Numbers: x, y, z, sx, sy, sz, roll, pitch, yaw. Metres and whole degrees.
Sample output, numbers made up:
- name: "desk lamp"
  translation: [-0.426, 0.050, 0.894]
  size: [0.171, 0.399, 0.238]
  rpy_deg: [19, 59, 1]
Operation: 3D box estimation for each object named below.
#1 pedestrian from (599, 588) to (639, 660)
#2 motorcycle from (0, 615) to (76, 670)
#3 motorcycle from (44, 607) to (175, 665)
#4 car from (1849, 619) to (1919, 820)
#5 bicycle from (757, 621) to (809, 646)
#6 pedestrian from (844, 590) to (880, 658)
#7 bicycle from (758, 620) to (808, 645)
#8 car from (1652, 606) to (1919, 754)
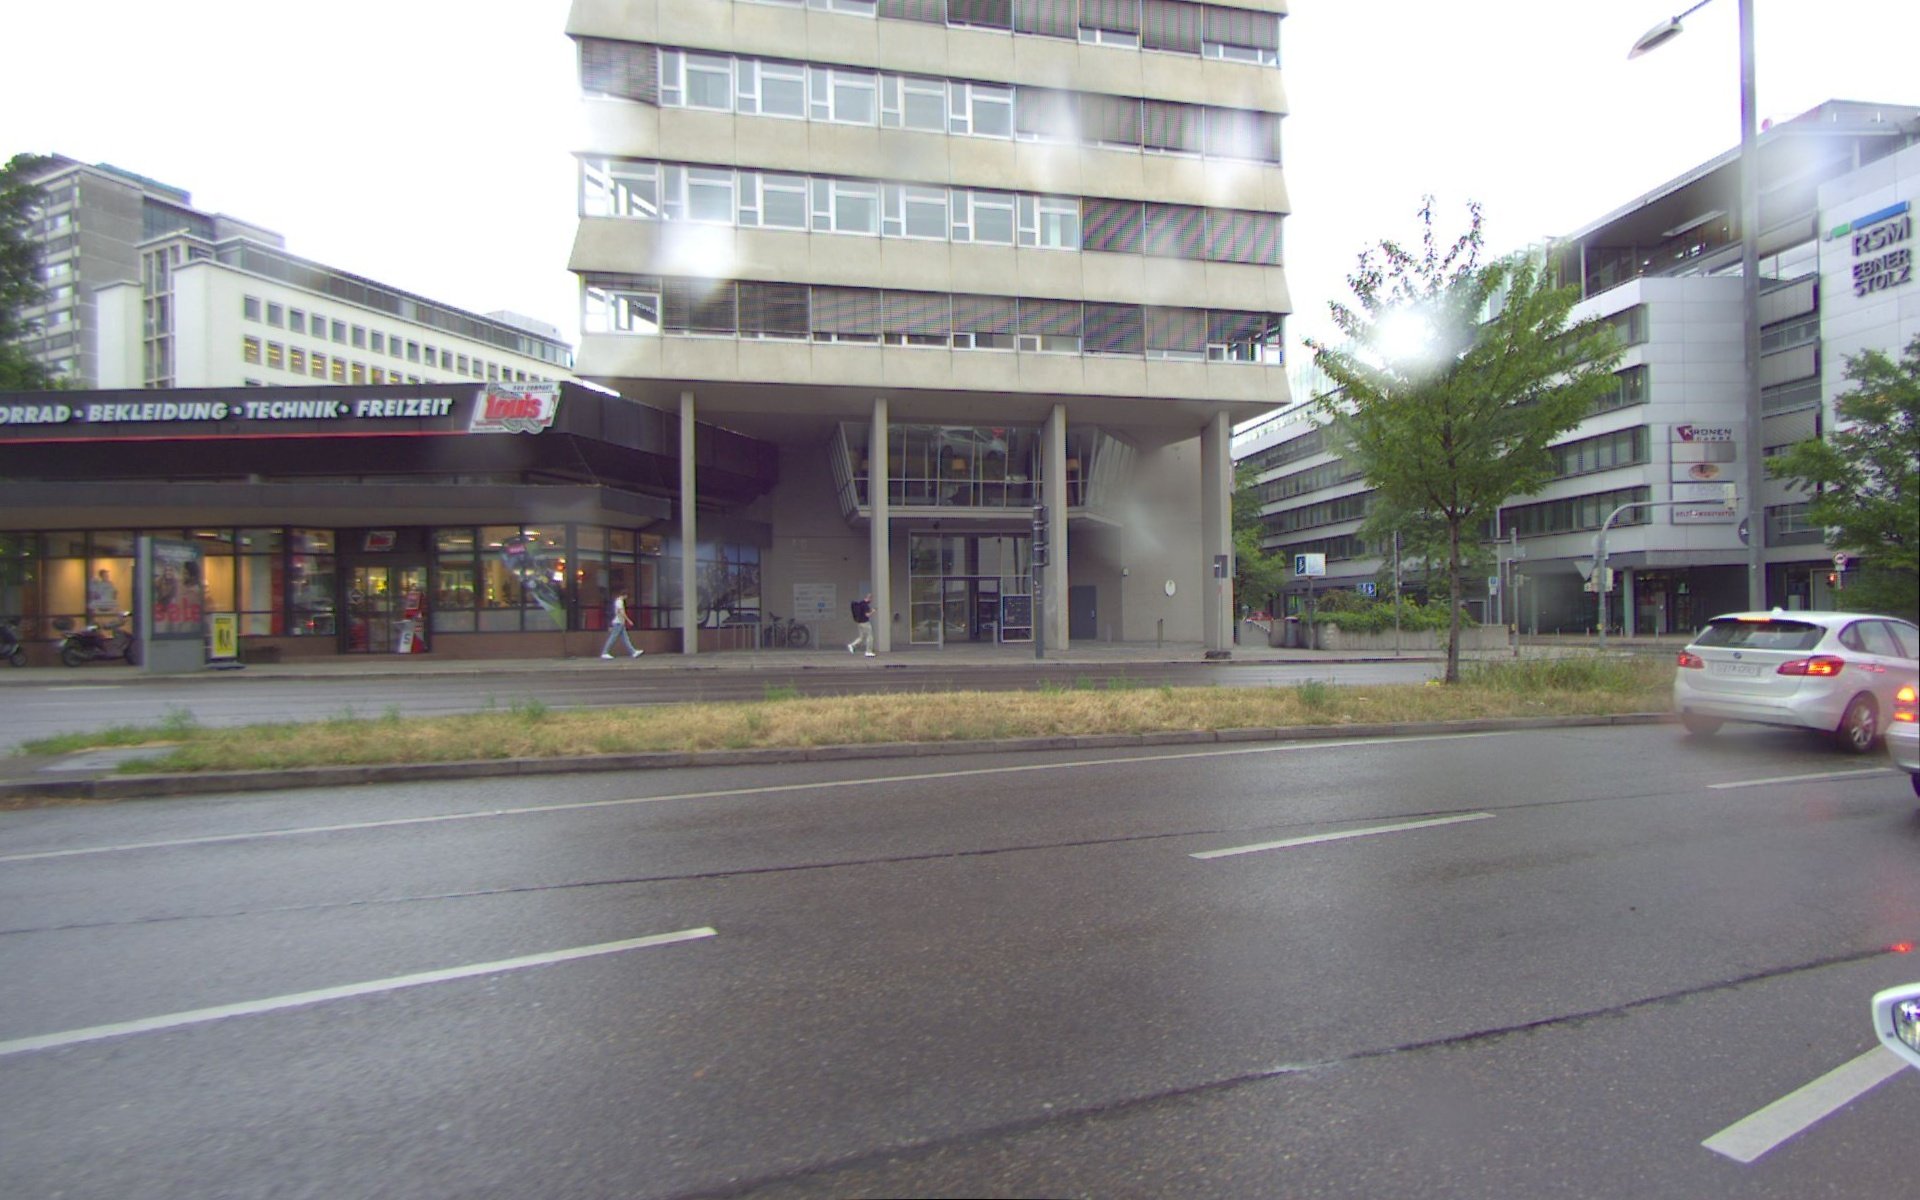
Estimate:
- name: "pedestrian"
  translation: [-8.996, 0.627, 26.554]
  size: [0.909, 1.857, 0.817]
  rpy_deg: [0, -1, -13]
- name: "motorcycle"
  translation: [-24.730, 1.095, 26.163]
  size: [0.709, 1.351, 2.822]
  rpy_deg: [1, 0, 5]
- name: "motorcycle"
  translation: [-21.793, 0.880, 25.847]
  size: [0.788, 1.392, 2.894]
  rpy_deg: [1, 0, 3]
- name: "car"
  translation: [9.278, 0.913, 7.959]
  size: [4.134, 1.505, 1.679]
  rpy_deg: [1, -1, -22]
- name: "bicycle"
  translation: [-6.134, 1.149, 34.833]
  size: [1.742, 0.823, 0.454]
  rpy_deg: [1, 0, -12]
- name: "pedestrian"
  translation: [-2.752, 0.670, 28.218]
  size: [0.909, 1.857, 0.728]
  rpy_deg: [1, -1, -13]
- name: "bicycle"
  translation: [-6.240, 1.151, 35.415]
  size: [1.742, 0.823, 0.454]
  rpy_deg: [1, 0, -12]
- name: "car"
  translation: [10.847, 0.889, 12.404]
  size: [4.225, 1.594, 1.780]
  rpy_deg: [1, -1, -22]
